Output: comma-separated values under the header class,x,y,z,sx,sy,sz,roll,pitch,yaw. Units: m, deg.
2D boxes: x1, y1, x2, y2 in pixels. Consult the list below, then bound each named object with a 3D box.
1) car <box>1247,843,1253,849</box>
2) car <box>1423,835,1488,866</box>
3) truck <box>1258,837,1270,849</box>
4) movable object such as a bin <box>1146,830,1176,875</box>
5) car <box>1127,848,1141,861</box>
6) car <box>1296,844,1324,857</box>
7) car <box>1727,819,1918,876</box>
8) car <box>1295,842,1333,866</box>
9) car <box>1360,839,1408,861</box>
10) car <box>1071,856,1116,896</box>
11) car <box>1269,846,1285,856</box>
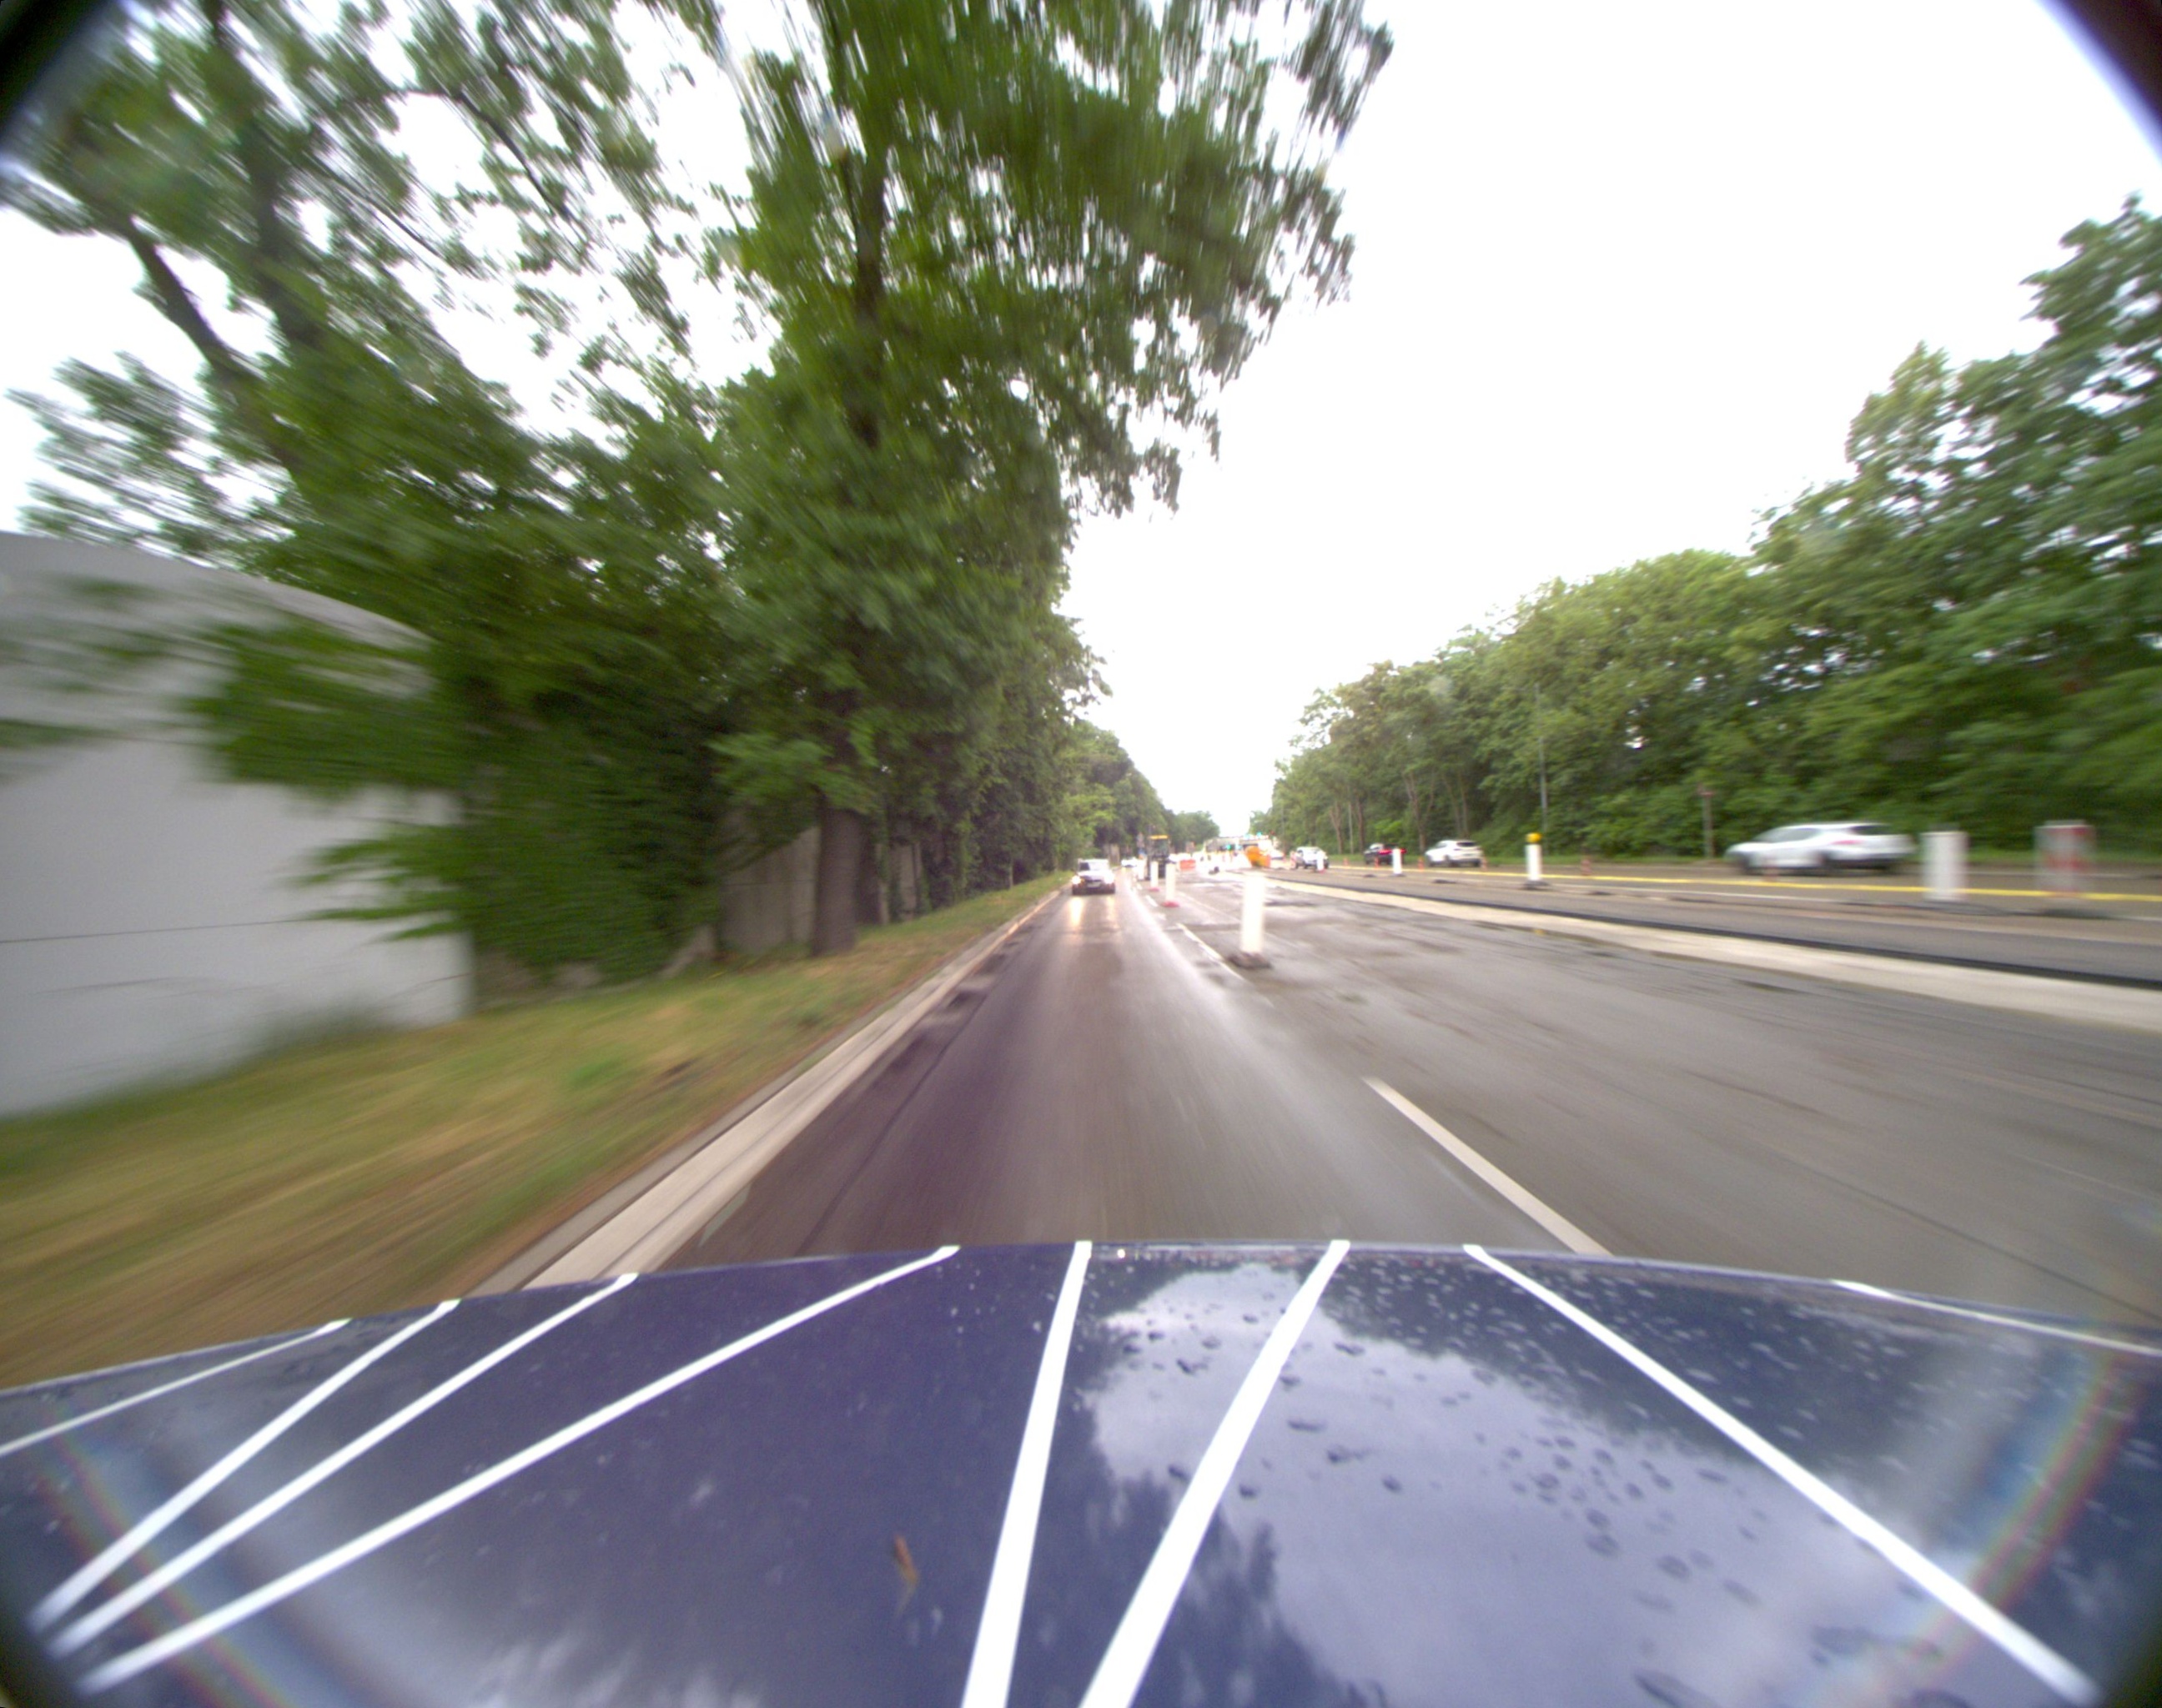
class,x,y,z,sx,sy,sz,roll,pitch,yaw
car,45.679,-2.174,205.450,1.677,1.604,3.773,-1,0,13
car,22.688,-0.191,46.222,1.781,1.741,4.380,-2,0,0
truck,57.521,-3.459,239.050,3.147,3.809,9.655,-2,1,15
movable object such as a bin,5.642,-0.120,54.125,1.807,2.968,5.247,-2,0,4
car,7.624,0.077,108.932,1.707,1.681,4.474,-2,1,7
car,26.253,-0.400,87.278,1.788,1.444,4.682,-2,0,2
car,21.710,-0.170,22.516,1.670,1.532,4.158,0,0,1
car,17.194,-0.020,56.277,1.793,1.574,3.862,-3,0,4
car,23.615,-0.287,59.372,1.781,1.654,4.915,-1,0,0
car,0.577,0.877,31.765,1.701,1.477,4.000,-2,1,2
car,29.284,-0.489,113.551,1.787,1.418,4.472,-2,0,9
